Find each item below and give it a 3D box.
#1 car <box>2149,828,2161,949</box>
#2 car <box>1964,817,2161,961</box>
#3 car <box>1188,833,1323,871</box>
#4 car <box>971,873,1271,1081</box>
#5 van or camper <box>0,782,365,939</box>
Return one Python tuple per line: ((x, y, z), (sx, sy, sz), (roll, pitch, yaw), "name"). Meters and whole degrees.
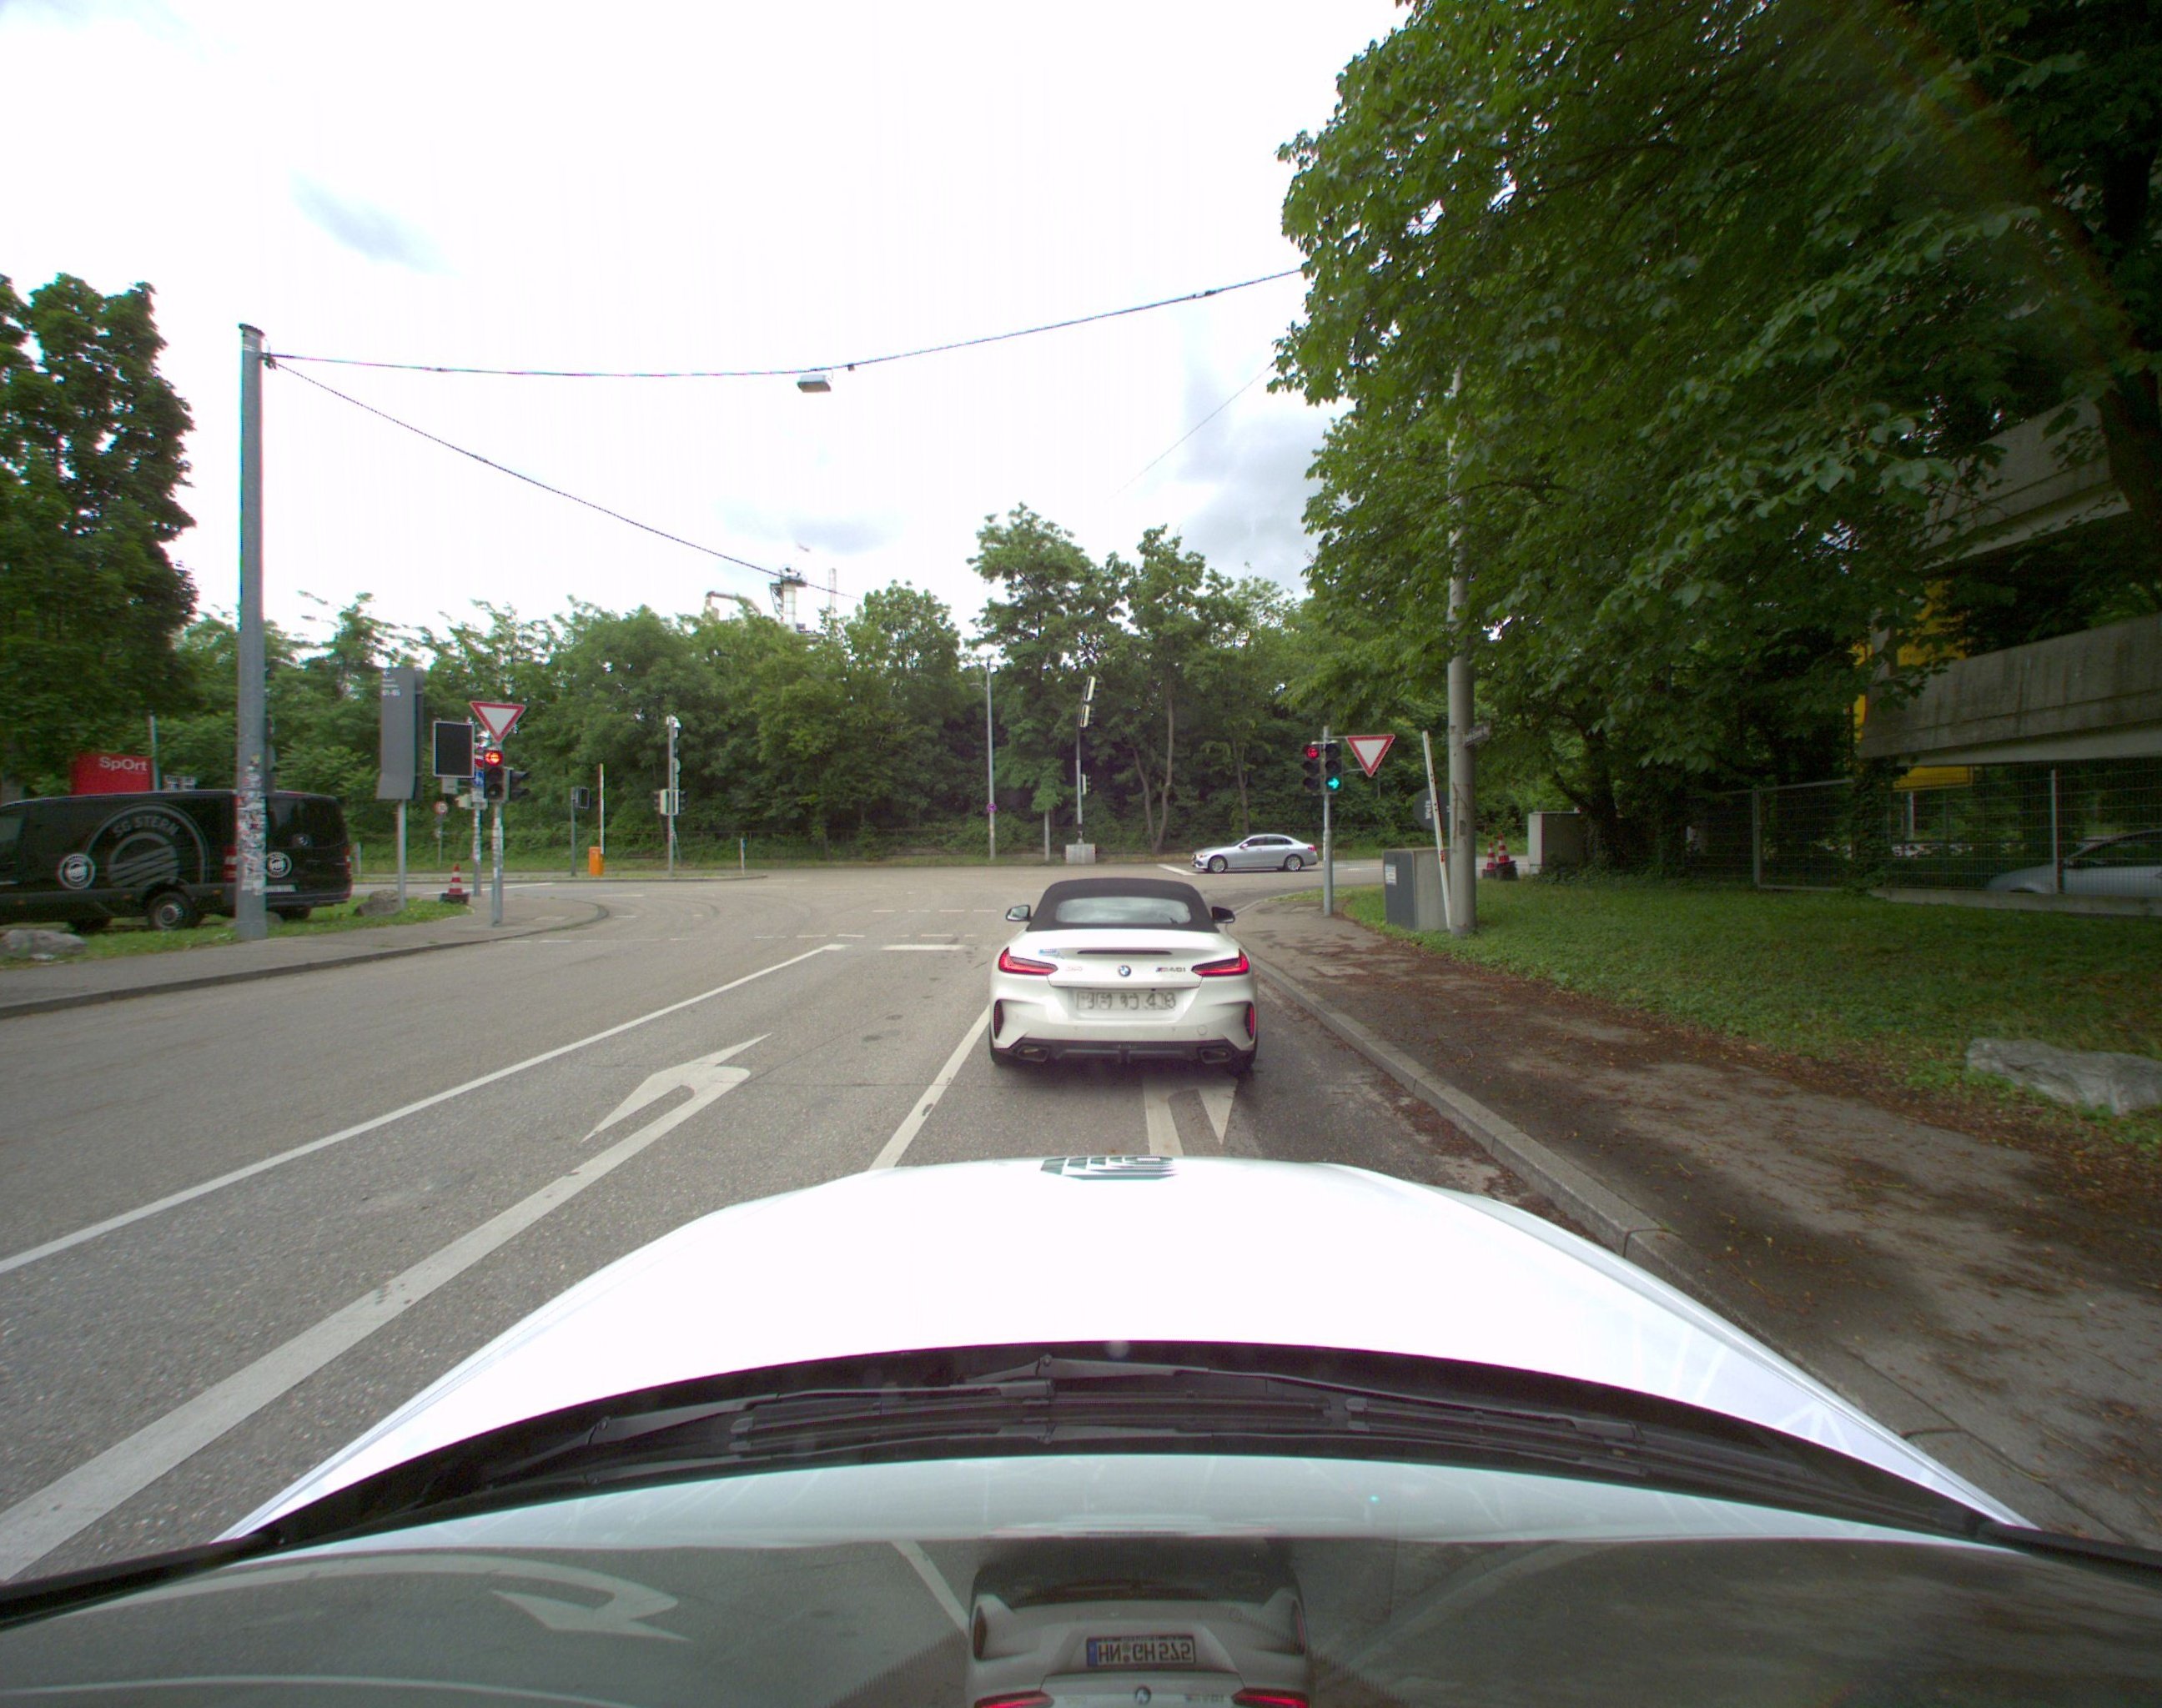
((16.009, 0.455, 9.740), (1.574, 1.708, 3.770), (0, -1, 2), "car")
((13.616, 0.429, 10.048), (1.475, 1.708, 3.720), (0, -1, 2), "car")
((6.579, -0.107, 30.930), (4.738, 1.333, 1.833), (-1, 2, -2), "car")
((0.246, 0.800, 6.963), (1.822, 1.257, 3.998), (0, -1, 0), "car")
((-15.887, 0.159, 13.948), (5.513, 2.314, 2.063), (-2, -2, 2), "van or camper")
